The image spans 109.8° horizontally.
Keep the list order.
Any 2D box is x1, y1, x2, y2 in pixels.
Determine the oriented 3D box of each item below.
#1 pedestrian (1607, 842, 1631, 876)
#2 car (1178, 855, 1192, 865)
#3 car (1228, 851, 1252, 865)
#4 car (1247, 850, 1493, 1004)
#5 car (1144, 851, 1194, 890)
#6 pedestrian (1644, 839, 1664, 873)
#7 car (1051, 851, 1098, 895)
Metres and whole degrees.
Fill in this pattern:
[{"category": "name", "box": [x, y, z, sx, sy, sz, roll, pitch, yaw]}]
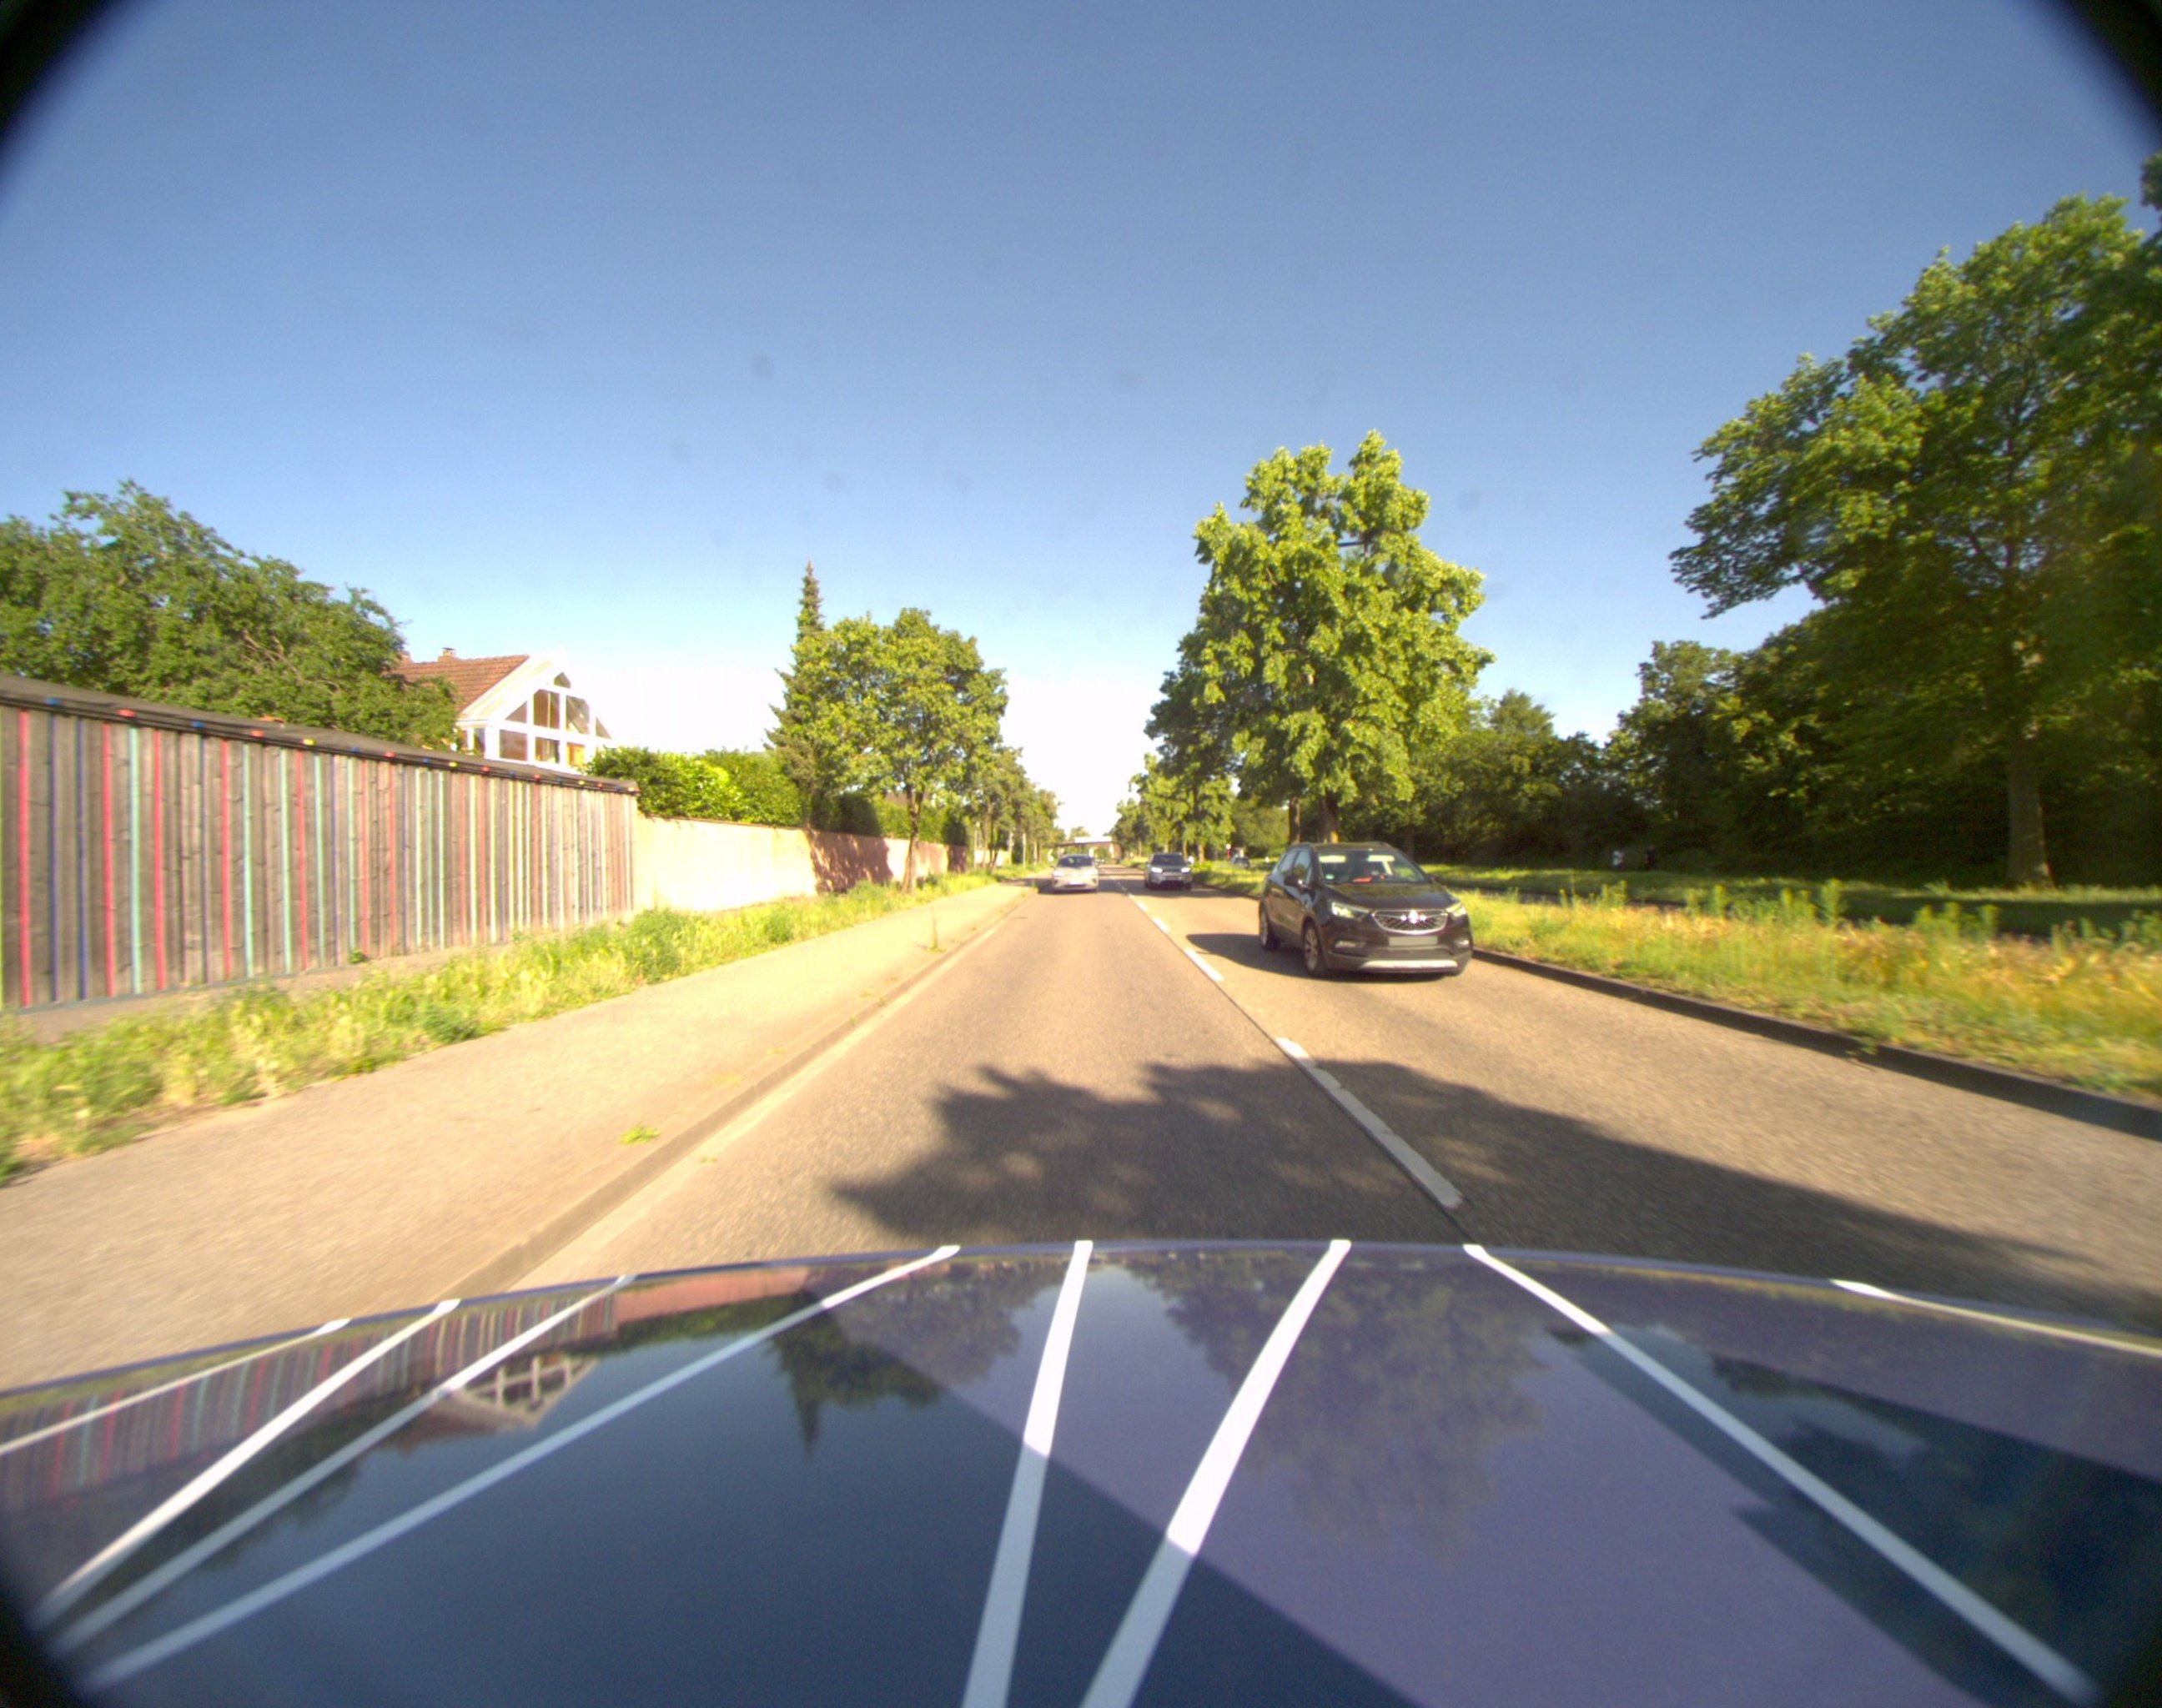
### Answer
[{"category": "pedestrian", "box": [27.247, 0.258, 38.468, 0.683, 1.650, 0.679, -3, 1, -2]}, {"category": "car", "box": [17.146, 0.942, 125.219, 1.733, 1.569, 3.747, 1, 0, 1]}, {"category": "car", "box": [16.863, 0.441, 80.696, 1.730, 1.448, 4.346, 1, 0, 1]}, {"category": "car", "box": [3.550, 0.766, 10.274, 1.700, 1.622, 4.417, 0, 1, 1]}, {"category": "car", "box": [3.817, 0.672, 33.504, 1.789, 1.601, 4.106, 0, 1, 1]}, {"category": "pedestrian", "box": [28.780, 0.097, 38.173, 0.561, 1.650, 0.540, -3, 1, -4]}, {"category": "car", "box": [-0.229, 0.736, 31.908, 1.766, 1.606, 4.296, -2, 1, 1]}]
